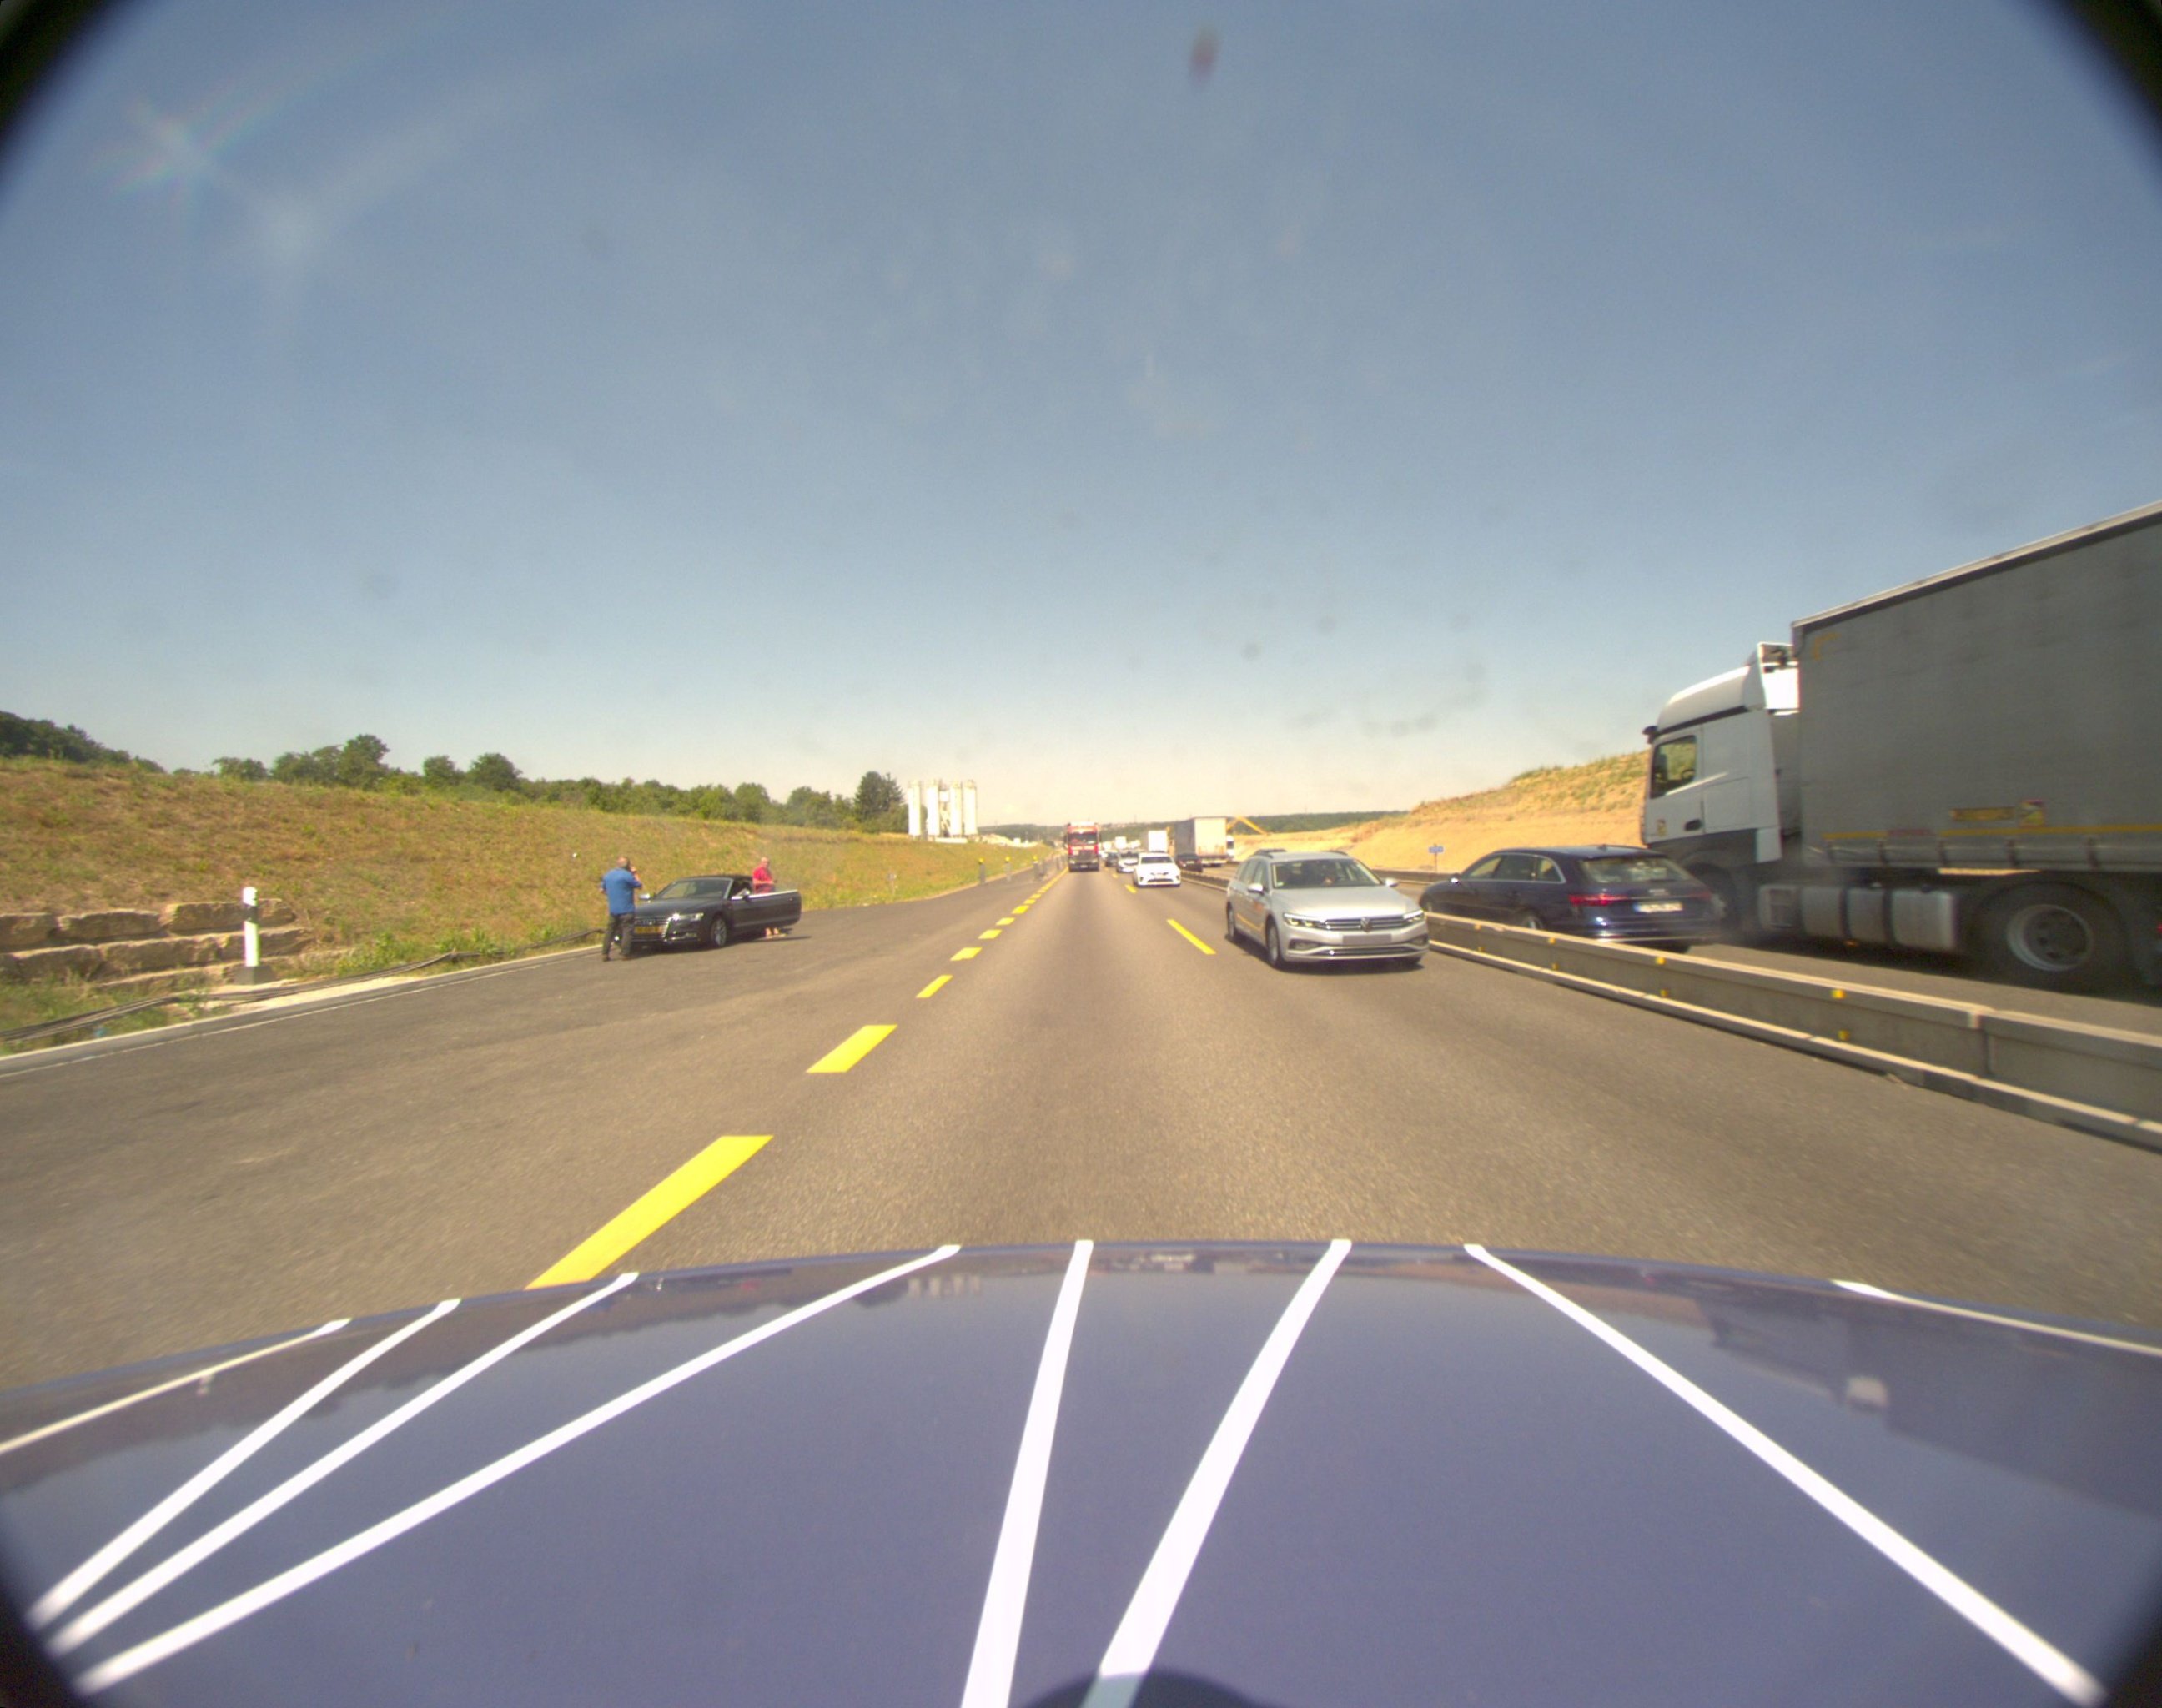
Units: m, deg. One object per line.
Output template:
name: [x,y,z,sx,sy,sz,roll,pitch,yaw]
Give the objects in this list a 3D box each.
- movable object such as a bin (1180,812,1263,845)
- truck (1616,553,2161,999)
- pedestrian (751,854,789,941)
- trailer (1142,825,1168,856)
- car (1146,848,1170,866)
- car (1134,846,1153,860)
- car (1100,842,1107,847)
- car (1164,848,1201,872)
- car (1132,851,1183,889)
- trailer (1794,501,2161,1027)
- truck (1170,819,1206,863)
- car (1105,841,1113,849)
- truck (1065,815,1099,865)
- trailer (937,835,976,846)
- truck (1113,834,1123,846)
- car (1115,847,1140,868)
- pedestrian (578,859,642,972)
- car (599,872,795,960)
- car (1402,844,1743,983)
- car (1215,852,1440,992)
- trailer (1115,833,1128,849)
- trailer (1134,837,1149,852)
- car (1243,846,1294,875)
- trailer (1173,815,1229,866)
movable object such as a bin: [32.249,-5.899,175.034,18.266,6.735,3.387,-3,2,1]
truck: [9.766,-0.777,9.430,2.775,4.021,4.942,-3,2,1]
pedestrian: [-6.687,0.918,16.343,0.643,1.817,0.558,-3,1,-20]
trailer: [10.675,-1.910,110.697,2.508,4.155,15.532,-1,1,1]
car: [7.071,0.266,70.072,1.780,1.546,4.138,0,1,0]
car: [7.589,-0.132,92.401,1.812,1.480,4.242,-3,1,0]
car: [7.777,-3.224,259.047,1.863,1.434,4.498,-3,1,-5]
car: [6.703,0.335,50.673,1.733,1.379,4.859,-3,1,0]
car: [3.258,0.635,33.041,1.875,1.390,4.029,-3,1,1]
trailer: [9.701,-0.716,1.981,2.797,4.051,13.710,-3,0,0]
truck: [10.326,-1.242,73.804,2.598,4.030,5.149,-3,1,0]
car: [8.066,-2.553,216.380,1.998,2.279,5.342,-3,1,0]
truck: [0.210,-1.209,64.665,2.537,3.799,9.479,-3,1,1]
trailer: [-29.865,-3.266,183.074,8.919,2.592,2.463,-2,2,-3]
truck: [11.393,-4.349,236.559,2.651,3.695,9.480,-3,1,1]
car: [3.366,0.211,55.211,1.601,1.390,3.694,-3,1,1]
pedestrian: [-7.886,1.007,12.750,0.626,1.817,0.642,-3,1,-11]
car: [-7.602,1.141,15.626,1.658,1.418,4.545,0,0,1]
car: [6.216,0.610,10.378,1.731,1.379,4.483,-3,1,0]
car: [3.164,0.775,10.696,1.804,1.499,4.100,-3,0,0]
trailer: [11.101,-3.621,210.362,2.861,4.070,13.649,-1,1,1]
trailer: [11.691,-1.850,147.678,2.317,2.671,6.754,-1,1,-1]
car: [10.379,0.309,42.334,1.634,1.416,4.500,-3,1,0]
trailer: [10.281,-1.110,66.752,2.660,3.915,13.994,-3,1,1]
